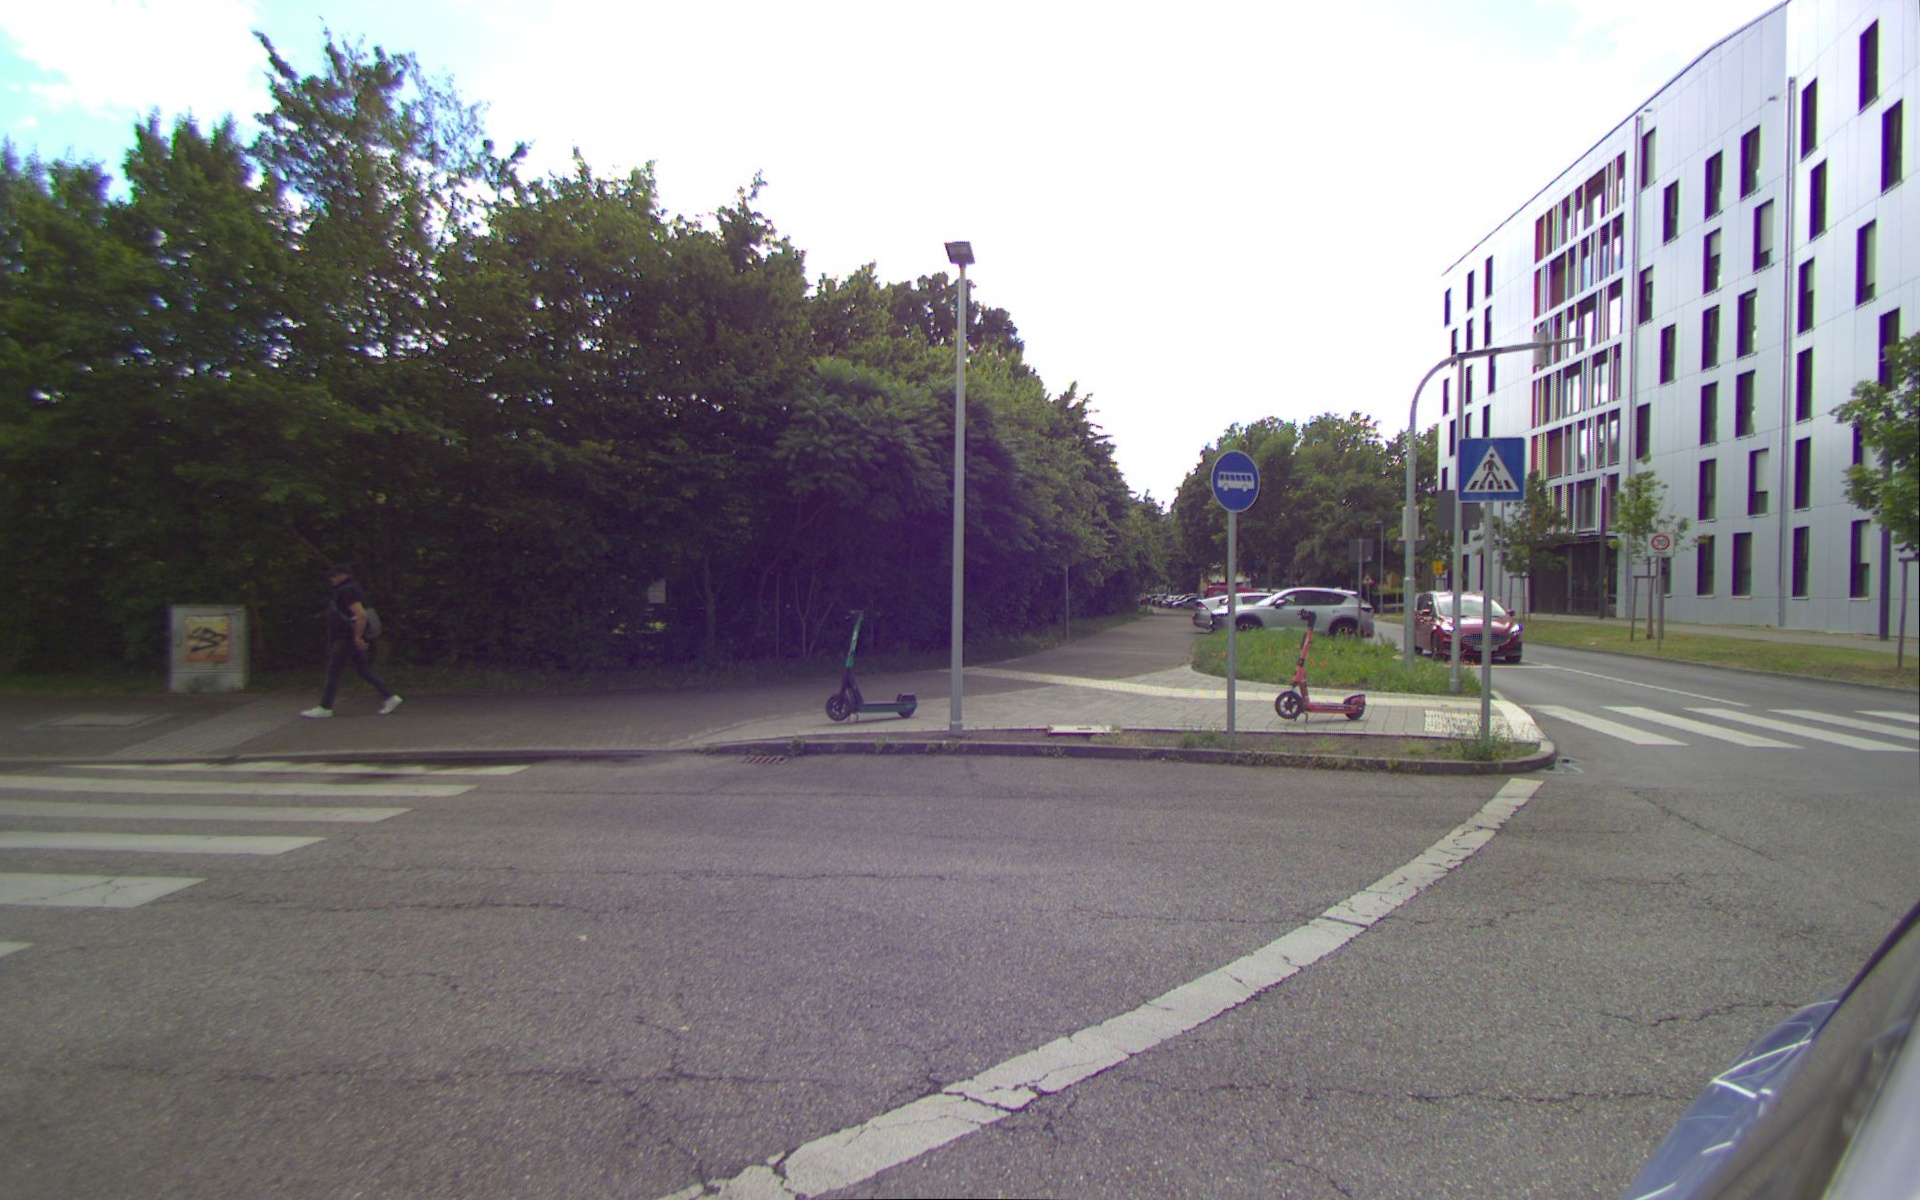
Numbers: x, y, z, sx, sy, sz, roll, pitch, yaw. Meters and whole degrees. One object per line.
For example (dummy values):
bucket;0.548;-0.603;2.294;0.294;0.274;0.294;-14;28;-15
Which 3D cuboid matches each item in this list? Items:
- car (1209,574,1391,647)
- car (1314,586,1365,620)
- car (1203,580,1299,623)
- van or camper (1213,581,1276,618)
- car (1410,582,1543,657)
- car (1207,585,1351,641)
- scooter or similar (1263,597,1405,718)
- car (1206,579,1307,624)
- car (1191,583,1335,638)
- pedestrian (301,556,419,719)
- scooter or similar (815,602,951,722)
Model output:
car;9.596;0.266;28.913;4.590;1.774;2.063;3;0;11
car;19.321;0.110;51.675;1.790;1.638;3.987;1;1;11
car;14.711;0.075;51.422;4.496;1.923;1.877;3;1;13
van or camper;19.170;-0.031;68.280;3.920;2.349;1.877;-1;0;13
car;12.394;0.420;24.597;1.906;1.652;4.225;-1;0;14
car;9.878;0.381;31.657;4.105;1.606;1.789;1;0;13
scooter or similar;4.297;0.629;11.639;1.493;1.329;0.573;0;0;-17
car;13.459;0.040;46.194;4.229;1.916;1.830;2;0;13
car;10.102;0.324;34.045;4.423;1.582;1.904;2;1;13
pedestrian;-7.069;0.422;11.969;0.964;1.845;0.859;0;0;-11
scooter or similar;-0.903;0.696;11.948;1.466;1.290;0.622;-1;1;-32
